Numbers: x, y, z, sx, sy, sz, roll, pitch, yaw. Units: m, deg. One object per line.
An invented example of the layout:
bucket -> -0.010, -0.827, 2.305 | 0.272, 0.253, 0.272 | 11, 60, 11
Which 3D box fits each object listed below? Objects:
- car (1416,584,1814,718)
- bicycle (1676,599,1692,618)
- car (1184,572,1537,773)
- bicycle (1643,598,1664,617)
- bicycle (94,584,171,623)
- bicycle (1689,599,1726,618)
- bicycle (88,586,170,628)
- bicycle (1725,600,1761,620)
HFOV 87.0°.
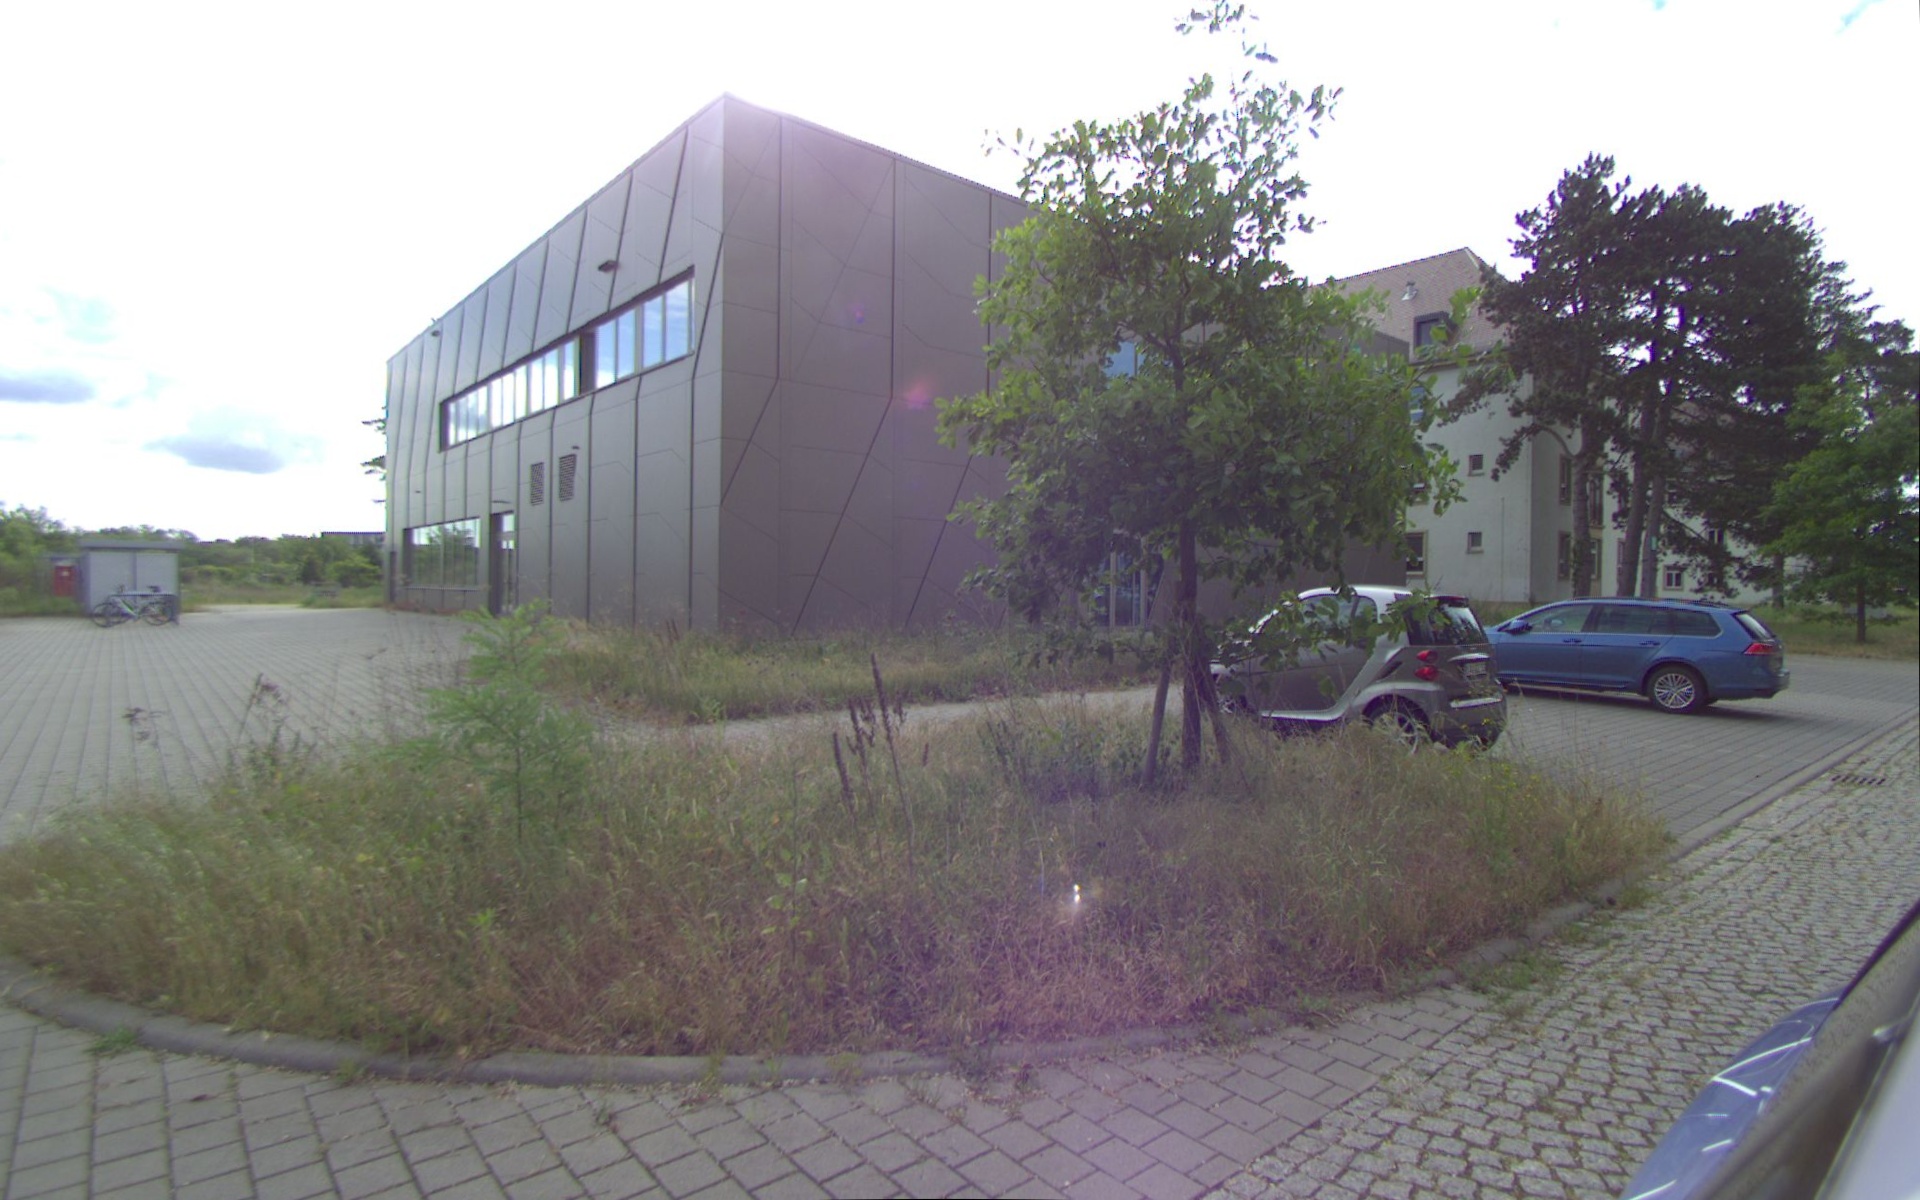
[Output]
car -> 9.239, 0.595, 14.589 | 1.799, 1.493, 4.497 | 0, 2, -43
bicycle -> 45.130, 0.508, 63.097 | 1.628, 1.142, 0.476 | 0, 0, -42
car -> 3.810, 0.567, 9.873 | 1.623, 1.575, 2.718 | 0, 2, -38
bicycle -> 43.997, 0.480, 64.222 | 1.697, 1.142, 0.448 | 0, 0, -33
bicycle -> -23.471, 0.092, 28.745 | 1.624, 1.099, 0.512 | 0, 0, -31
bicycle -> 44.931, 0.486, 60.838 | 0.603, 1.099, 1.655 | 0, 0, -38
bicycle -> -22.090, 0.186, 26.940 | 1.624, 1.099, 0.512 | 0, 0, -31
bicycle -> 46.130, 0.576, 59.631 | 0.604, 1.099, 1.653 | 0, 0, -43
